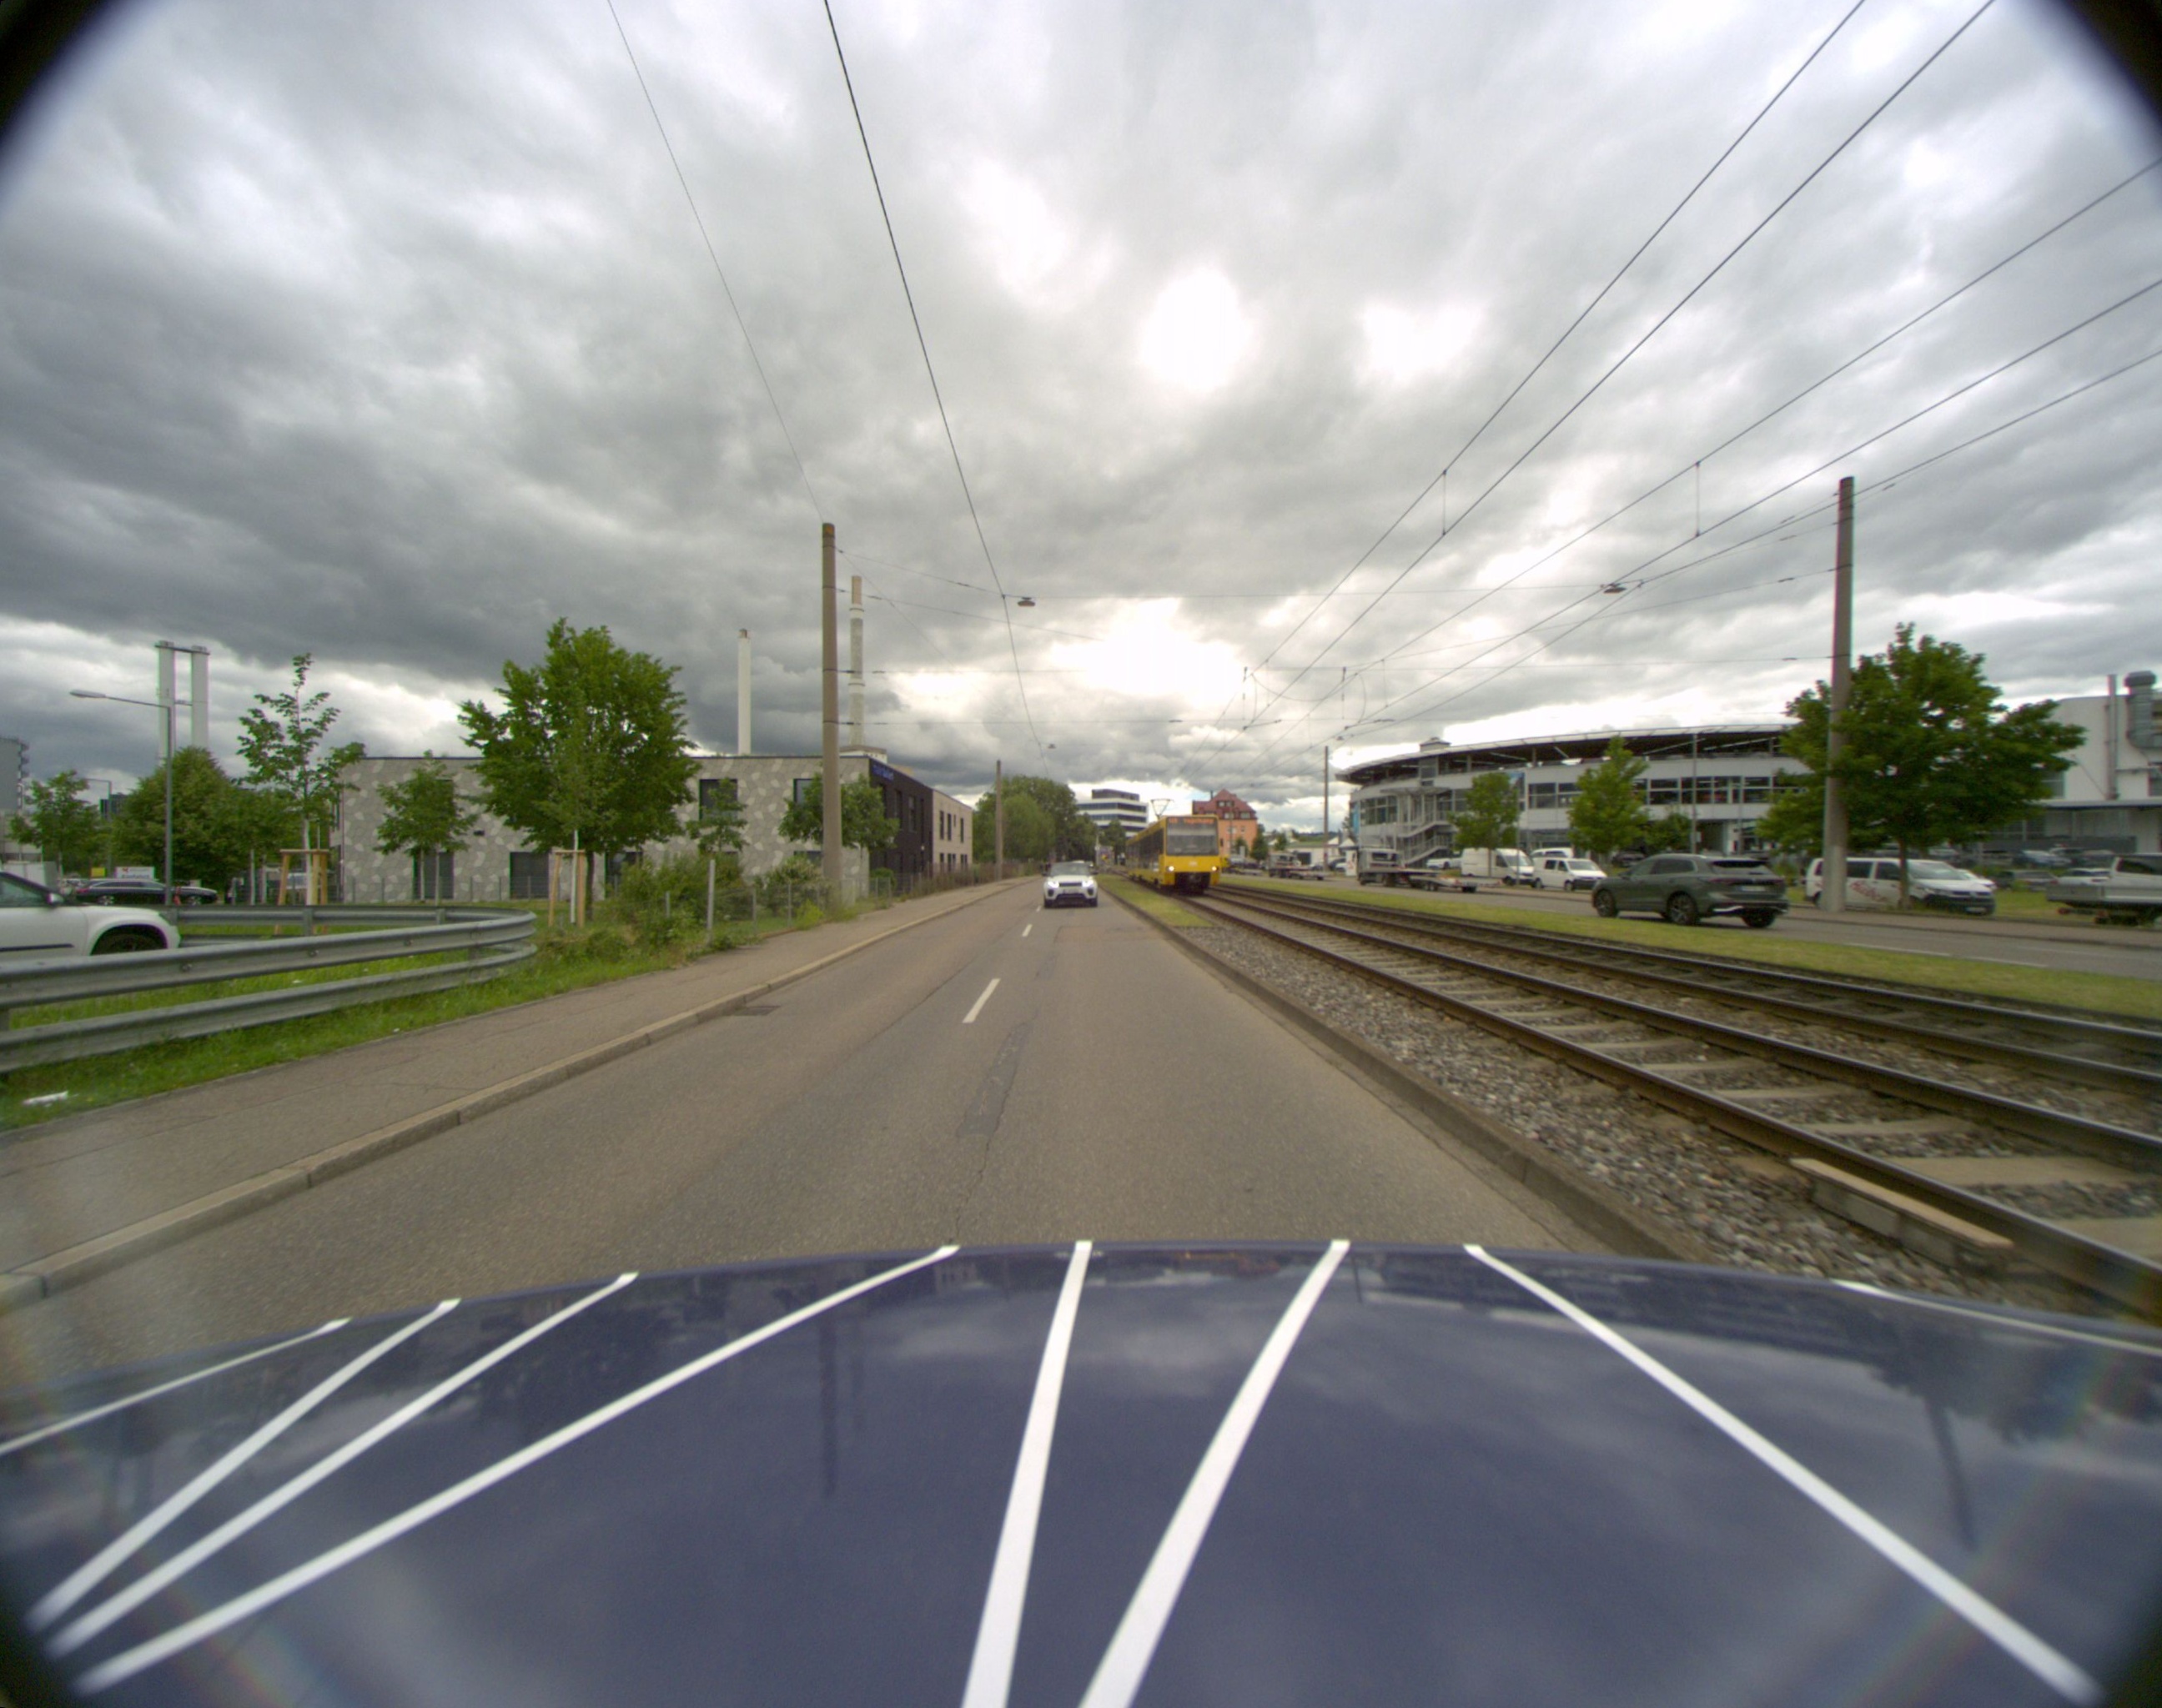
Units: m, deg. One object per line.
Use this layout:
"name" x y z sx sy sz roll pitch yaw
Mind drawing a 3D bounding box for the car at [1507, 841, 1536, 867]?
"car" 35.993 0.023 62.194 1.995 2.002 4.008 0 0 29

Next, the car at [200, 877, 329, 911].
"car" -42.091 2.013 39.255 1.994 1.575 4.386 -1 -1 39

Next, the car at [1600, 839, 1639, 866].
"car" 41.644 -0.105 58.836 1.995 2.002 4.008 0 0 29

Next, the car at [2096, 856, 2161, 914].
"car" 39.031 1.087 26.637 1.995 2.002 5.143 0 0 26

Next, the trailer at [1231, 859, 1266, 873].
"trailer" 21.169 1.561 96.523 2.984 1.678 7.570 0 -1 2

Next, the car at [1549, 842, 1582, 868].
"car" 38.783 0.065 60.894 1.995 2.002 4.008 0 0 29

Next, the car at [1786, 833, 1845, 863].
"car" 51.787 -0.389 53.657 1.995 2.002 4.008 0 0 29

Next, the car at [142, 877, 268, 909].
"car" -47.094 2.049 40.932 1.994 1.575 4.386 -1 -1 39

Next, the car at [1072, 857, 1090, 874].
"car" -0.052 1.248 86.321 1.999 1.881 4.626 0 -1 -1

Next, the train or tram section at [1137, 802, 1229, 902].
"train or tram section" 4.787 -0.107 39.571 3.396 3.984 16.948 -2 0 4

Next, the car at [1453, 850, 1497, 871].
"car" 37.734 0.601 72.736 4.007 2.002 1.995 0 0 -31

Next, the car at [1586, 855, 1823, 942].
"car" 14.555 0.939 18.174 1.998 1.729 4.534 2 1 3

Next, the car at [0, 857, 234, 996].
"car" -13.010 0.846 8.622 1.754 1.564 4.431 -2 -1 1

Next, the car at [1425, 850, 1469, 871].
"car" 35.729 0.655 74.108 4.007 2.002 1.995 0 0 -31

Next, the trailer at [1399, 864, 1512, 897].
"trailer" 19.831 1.344 40.828 2.764 1.486 7.227 2 0 3

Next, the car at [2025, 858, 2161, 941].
"car" 27.900 1.103 18.559 5.699 1.996 2.148 0 0 27

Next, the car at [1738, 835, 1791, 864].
"car" 49.122 -0.277 54.689 1.995 2.002 4.008 0 0 29

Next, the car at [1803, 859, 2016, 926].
"car" 27.257 1.168 25.318 1.998 2.002 4.862 0 0 4

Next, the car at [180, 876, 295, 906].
"car" -49.233 2.093 44.428 1.994 1.575 4.386 -1 -1 39

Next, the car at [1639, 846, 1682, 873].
"car" 44.060 0.418 57.834 1.995 2.002 4.008 0 0 29

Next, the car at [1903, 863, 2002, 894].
"car" 48.294 1.340 42.203 1.674 1.608 3.719 -1 -1 11

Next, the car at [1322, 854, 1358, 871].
"car" 31.585 1.034 92.876 3.993 1.936 2.002 0 0 13

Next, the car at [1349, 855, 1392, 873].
"car" 31.927 1.084 83.918 4.001 1.936 1.998 0 0 -12

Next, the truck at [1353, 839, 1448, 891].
"truck" 20.209 0.675 48.677 2.870 2.964 8.457 2 0 3

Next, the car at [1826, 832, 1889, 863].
"car" 53.667 -0.428 52.615 1.995 2.002 4.008 0 0 29

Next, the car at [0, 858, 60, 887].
"car" -63.949 1.127 45.525 2.003 1.575 4.365 -3 0 -36

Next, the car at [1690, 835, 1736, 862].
"car" 48.244 -0.380 58.071 1.995 2.002 4.008 0 0 29

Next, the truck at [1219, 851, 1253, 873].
"truck" 21.288 1.128 104.856 3.057 2.842 9.068 0 -1 2

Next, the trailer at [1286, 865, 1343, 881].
"trailer" 20.873 1.663 68.362 3.056 1.270 7.007 2 -1 1

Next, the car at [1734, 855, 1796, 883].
"car" 41.475 0.907 46.177 1.673 1.608 3.722 -1 -1 23

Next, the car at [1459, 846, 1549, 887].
"car" 27.783 0.817 50.168 2.000 2.546 5.858 0 -1 -9

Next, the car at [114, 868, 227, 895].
"car" -56.017 1.651 46.806 1.994 1.575 4.386 -1 -1 39

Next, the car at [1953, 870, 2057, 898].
"car" 50.507 1.599 41.642 1.674 1.427 3.719 -1 -1 11

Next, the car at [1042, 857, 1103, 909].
"car" -0.243 1.017 27.937 1.998 1.717 4.001 -2 -1 1

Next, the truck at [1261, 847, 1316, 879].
"truck" 20.717 0.874 76.357 3.115 2.904 8.962 2 0 1

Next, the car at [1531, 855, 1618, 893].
"car" 28.281 1.114 43.737 1.998 2.001 4.809 0 -1 2

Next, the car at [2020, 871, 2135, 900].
"car" 52.776 1.620 40.352 1.674 1.427 3.719 -1 -1 11

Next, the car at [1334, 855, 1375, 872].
"car" 31.350 1.051 87.060 4.001 1.936 1.998 0 0 -12

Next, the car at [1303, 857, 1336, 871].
"car" 31.670 1.325 100.976 3.990 1.936 2.003 0 0 22
